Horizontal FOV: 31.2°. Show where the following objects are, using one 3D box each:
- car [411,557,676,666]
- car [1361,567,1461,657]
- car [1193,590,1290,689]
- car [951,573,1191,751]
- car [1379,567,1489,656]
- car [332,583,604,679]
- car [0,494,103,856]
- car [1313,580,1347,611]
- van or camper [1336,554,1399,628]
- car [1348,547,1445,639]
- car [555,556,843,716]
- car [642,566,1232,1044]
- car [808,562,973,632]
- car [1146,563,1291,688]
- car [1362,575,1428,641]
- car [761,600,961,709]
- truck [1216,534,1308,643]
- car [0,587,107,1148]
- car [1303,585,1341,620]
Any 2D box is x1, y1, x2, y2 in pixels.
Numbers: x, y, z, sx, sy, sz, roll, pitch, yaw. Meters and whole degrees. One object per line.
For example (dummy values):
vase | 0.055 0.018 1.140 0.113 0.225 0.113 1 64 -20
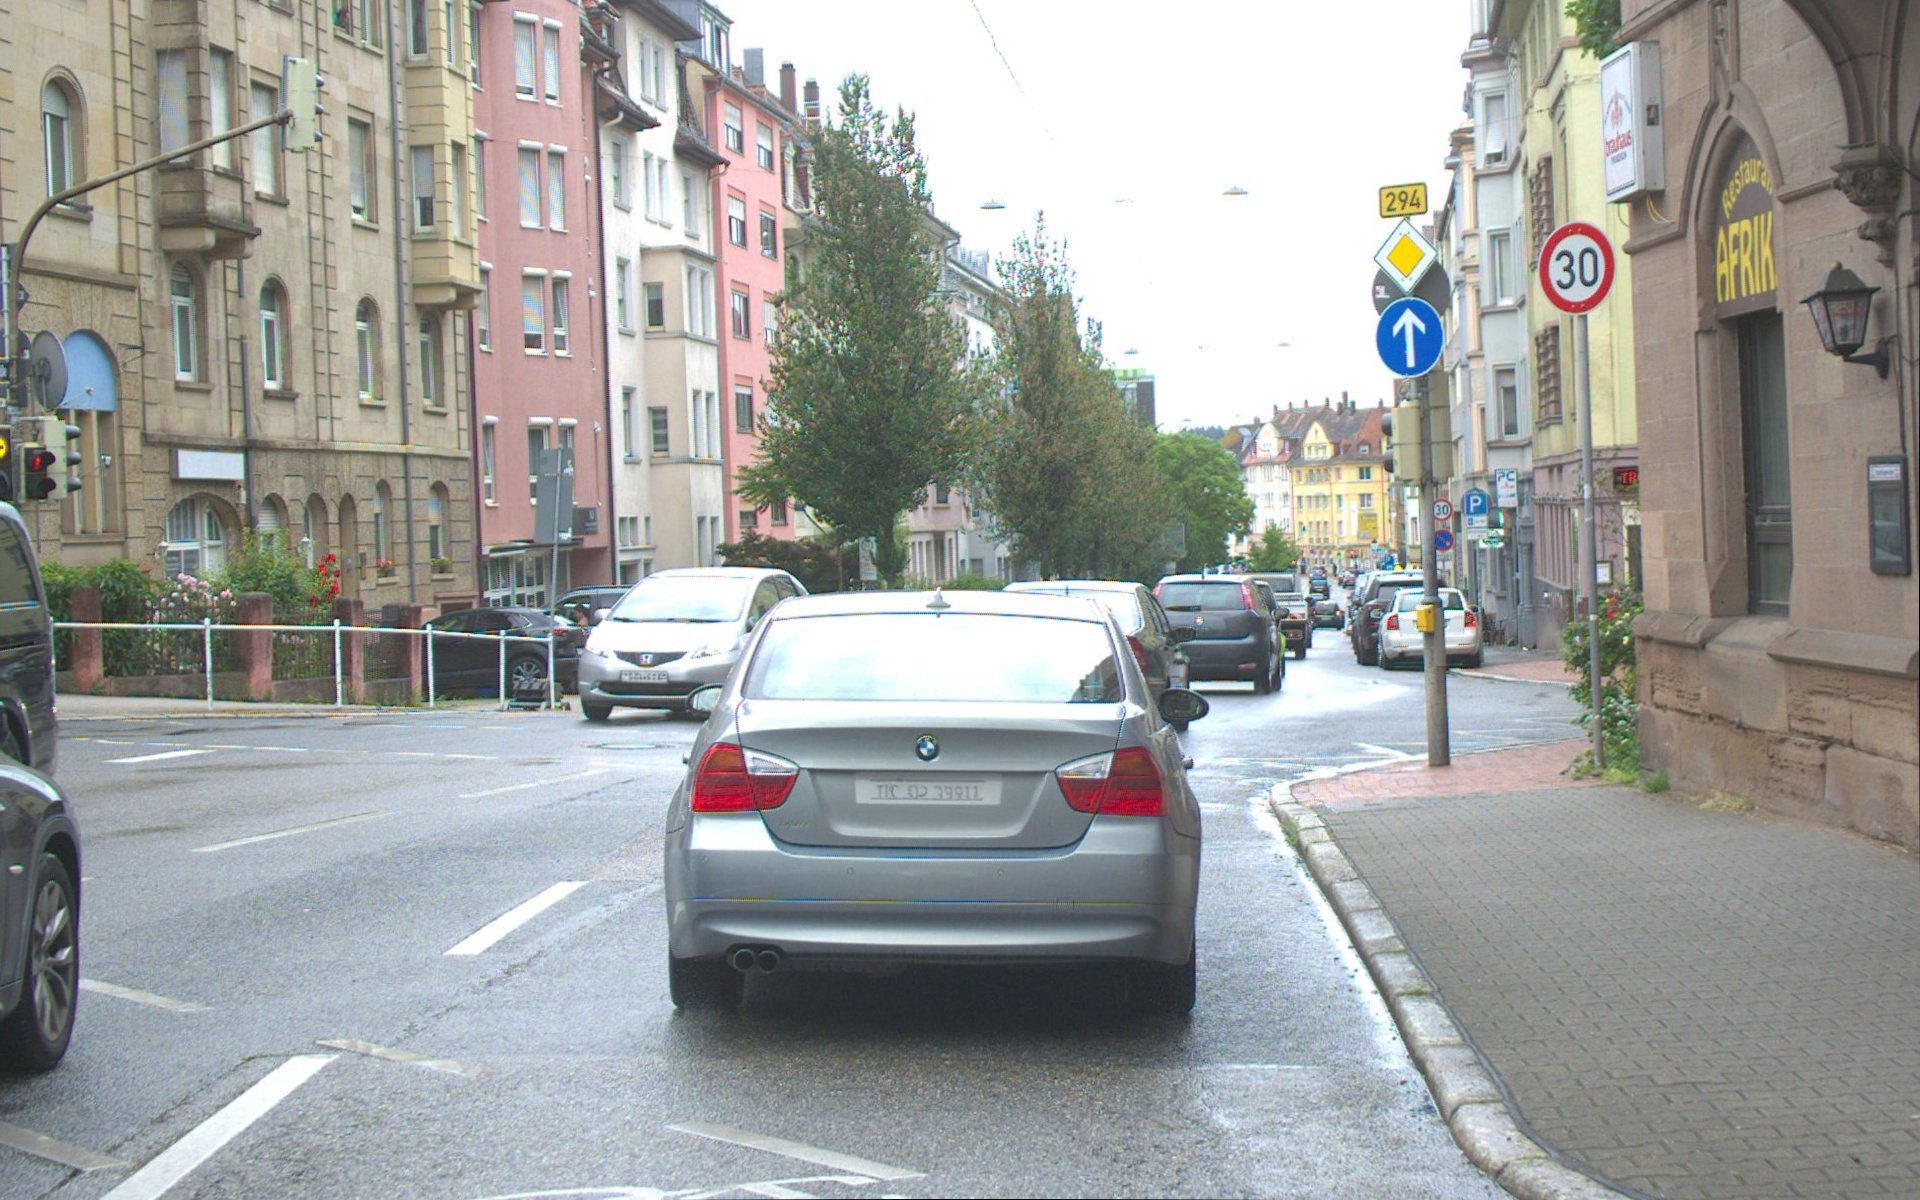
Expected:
car | -7.555 0.198 62.730 4.674 1.932 1.863 0 0 -3
car | 8.898 0.226 68.084 1.879 1.726 4.675 0 0 6
car | 4.528 0.633 55.622 1.449 1.560 3.332 0 0 3
car | 1.012 0.507 29.498 1.682 1.423 3.739 0 0 8
car | 8.607 0.196 62.656 1.799 1.559 4.492 0 0 5
car | -8.226 0.509 57.703 4.148 1.505 1.873 -1 0 7
car | -5.868 0.412 16.802 1.743 1.840 4.145 -2 0 9
car | 21.017 -0.276 195.103 1.879 1.725 4.439 0 0 6
van or camper | 16.300 -0.366 137.271 2.034 2.859 6.882 1 0 10
car | 9.398 -0.145 74.248 1.920 1.821 5.008 -3 0 6
car | -2.571 0.319 34.768 1.626 1.513 3.868 0 1 16
car | -0.140 0.633 12.205 1.769 1.423 3.741 0 -1 -2
car | -2.151 -0.086 107.049 4.830 1.967 2.047 -3 0 7
car | 3.173 0.319 42.777 1.697 1.478 3.793 0 0 3
car | 14.194 0.259 112.412 1.982 2.000 4.624 -3 0 6
car | -1.556 0.889 56.084 1.966 1.687 4.804 -1 -1 15
truck | 6.960 -0.239 78.855 2.032 2.404 4.825 0 0 6
car | -3.478 0.725 8.534 1.752 1.530 4.215 0 0 -1
car | 18.456 0.116 174.947 1.879 1.725 4.675 0 0 6
